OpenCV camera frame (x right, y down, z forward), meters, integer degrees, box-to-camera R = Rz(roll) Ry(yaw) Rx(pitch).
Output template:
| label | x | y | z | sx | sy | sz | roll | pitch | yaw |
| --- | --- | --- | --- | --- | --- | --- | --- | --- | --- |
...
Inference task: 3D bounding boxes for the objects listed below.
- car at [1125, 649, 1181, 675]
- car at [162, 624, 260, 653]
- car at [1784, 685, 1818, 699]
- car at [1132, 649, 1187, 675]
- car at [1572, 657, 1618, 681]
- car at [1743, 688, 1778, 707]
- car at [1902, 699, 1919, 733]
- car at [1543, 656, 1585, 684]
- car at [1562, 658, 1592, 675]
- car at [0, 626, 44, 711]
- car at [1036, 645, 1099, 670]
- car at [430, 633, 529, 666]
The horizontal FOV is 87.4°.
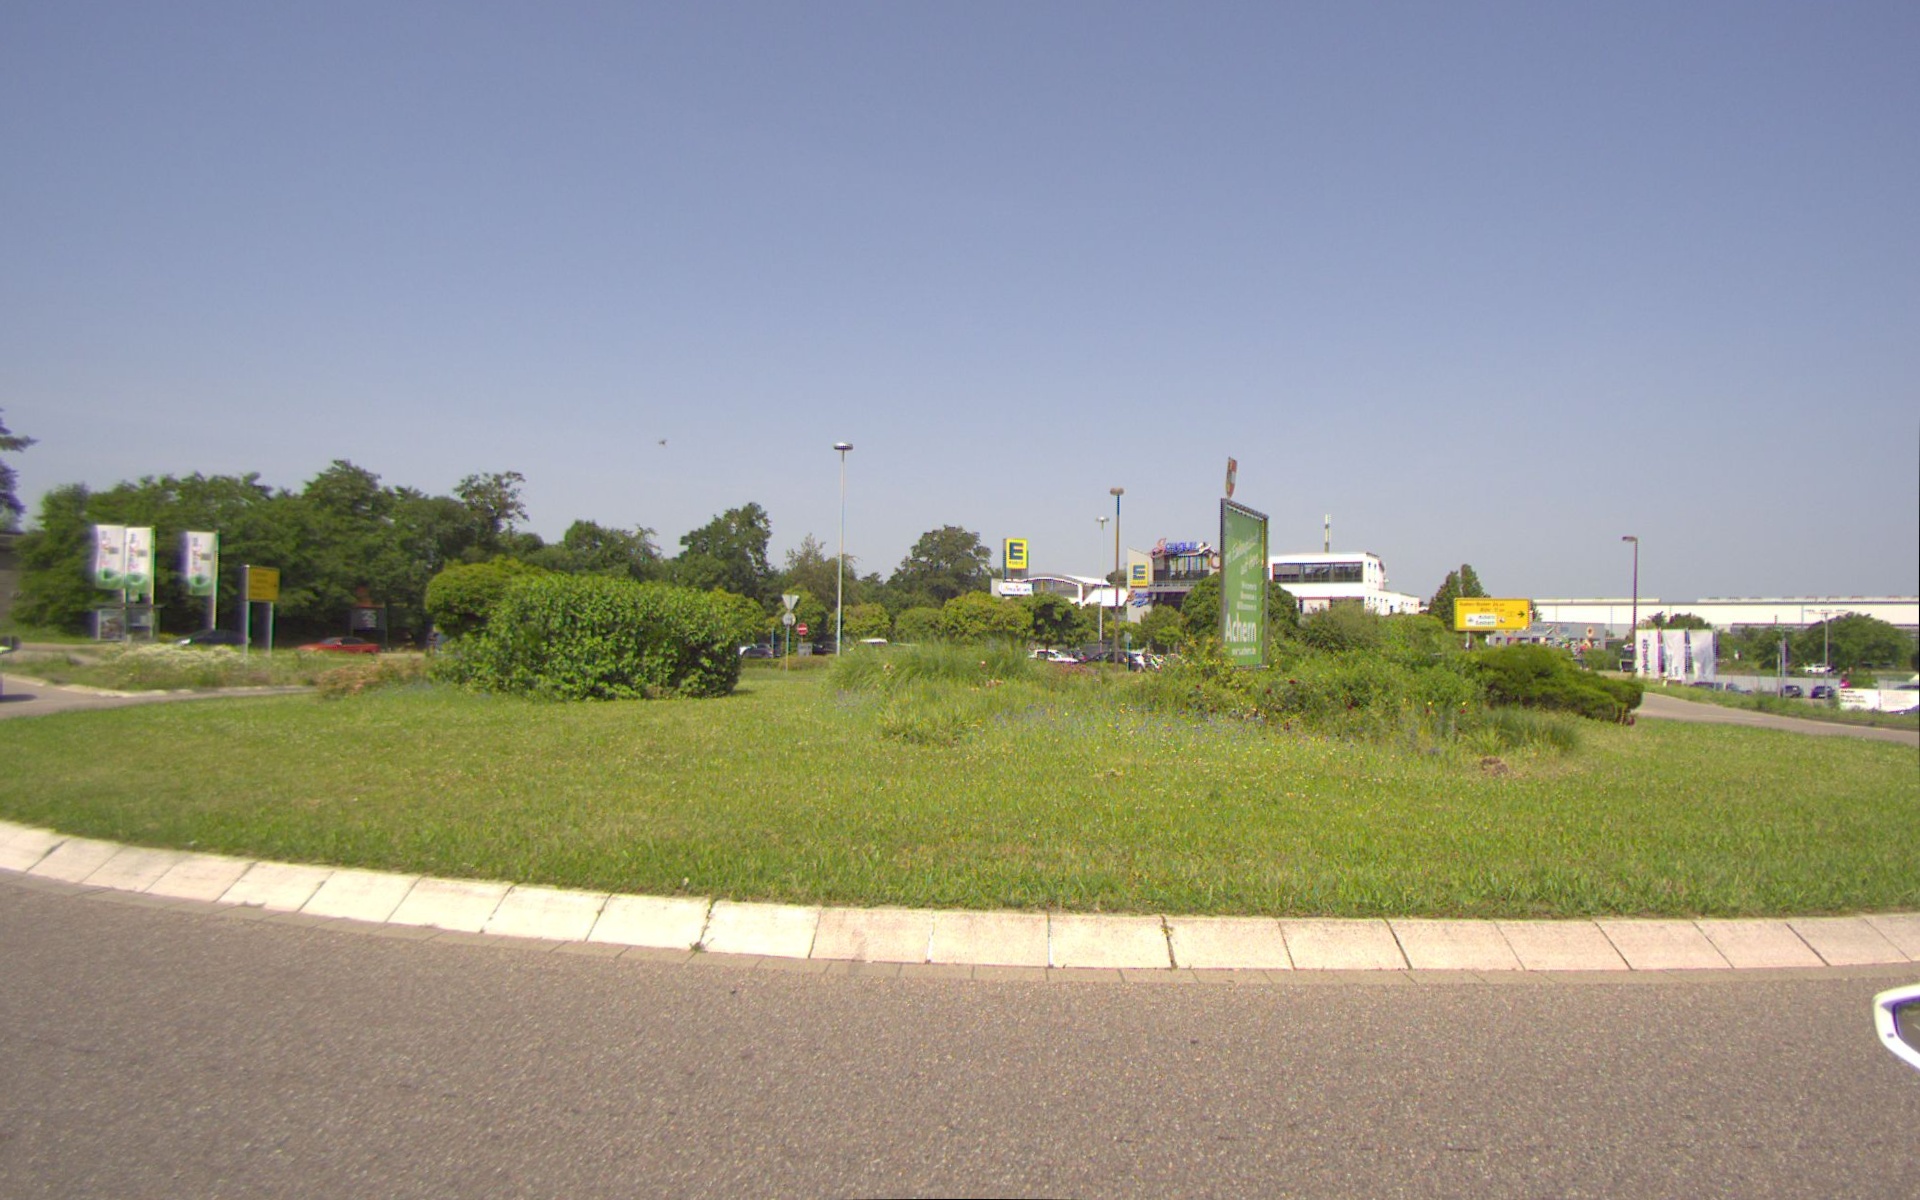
| label | x | y | z | sx | sy | sz | roll | pitch | yaw |
| --- | --- | --- | --- | --- | --- | --- | --- | --- | --- |
| car | 12.705 | 4.077 | 66.155 | 3.278 | 1.594 | 1.547 | -1 | -4 | 44 |
| car | -48.208 | 2.489 | 64.752 | 1.992 | 1.674 | 4.632 | 2 | -2 | 28 |
| car | 92.857 | 10.170 | 110.866 | 3.961 | 1.416 | 1.980 | 5 | -3 | -35 |
| car | 13.474 | 4.190 | 67.911 | 3.278 | 1.594 | 1.547 | -1 | -4 | 44 |
| car | 58.259 | 6.333 | 92.154 | 3.954 | 2.040 | 1.984 | 4 | -2 | -31 |
| car | 71.388 | 8.644 | 89.567 | 2.112 | 1.476 | 4.508 | 1 | -3 | 43 |
| car | 50.123 | 5.903 | 49.844 | 4.407 | 1.661 | 2.149 | 2 | -4 | 20 |
| car | 34.538 | 4.003 | 57.387 | 1.803 | 1.489 | 4.399 | 1 | -3 | 34 |
| car | 79.195 | 8.511 | 128.979 | 3.964 | 2.040 | 1.979 | 5 | -3 | -37 |
| car | -22.946 | 1.506 | 23.199 | 2.179 | 1.674 | 5.065 | 4 | -2 | -38 |
| car | 7.508 | 3.997 | 70.249 | 3.945 | 1.594 | 1.989 | -1 | -4 | 44 |
| car | -24.752 | 2.579 | 51.889 | 1.841 | 1.581 | 4.404 | 2 | -2 | 25 |
